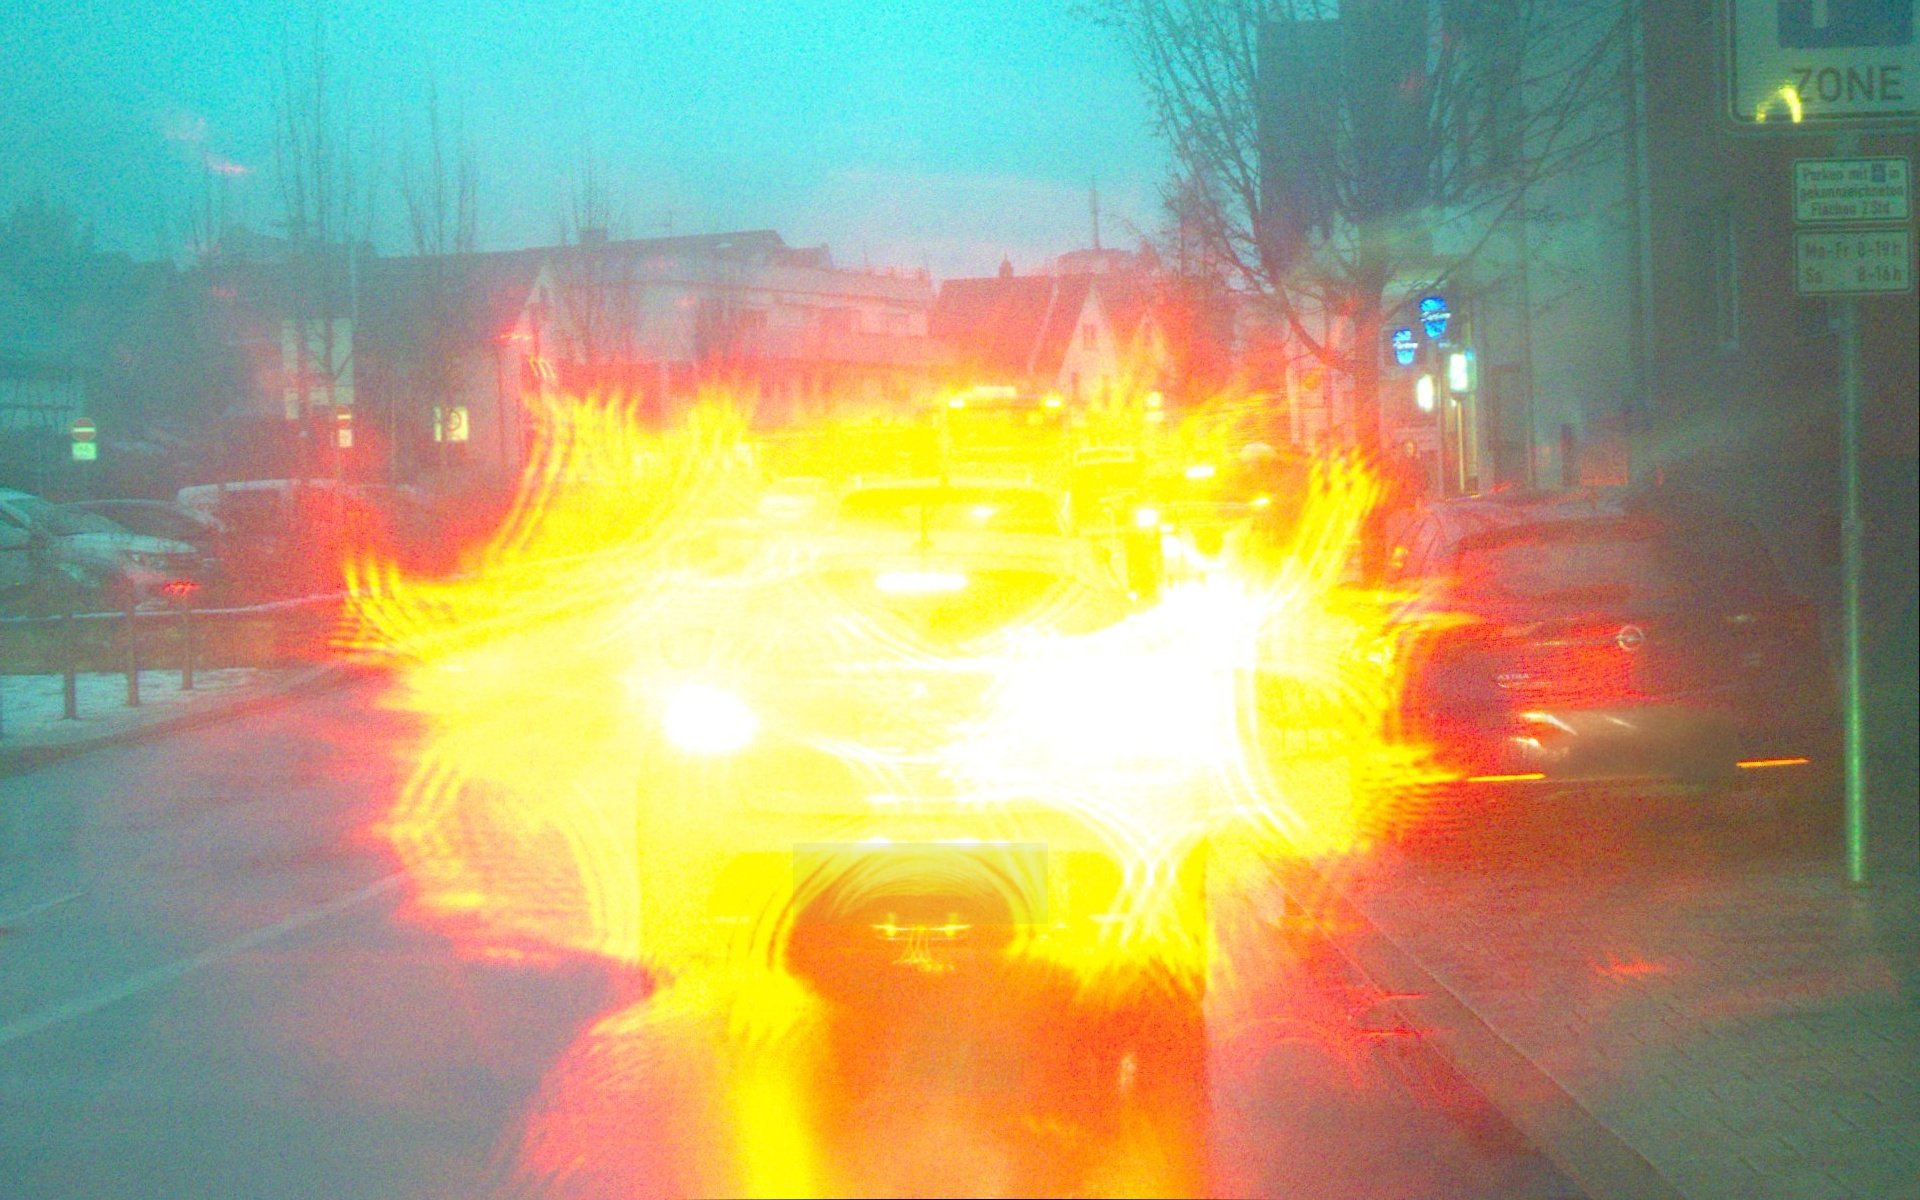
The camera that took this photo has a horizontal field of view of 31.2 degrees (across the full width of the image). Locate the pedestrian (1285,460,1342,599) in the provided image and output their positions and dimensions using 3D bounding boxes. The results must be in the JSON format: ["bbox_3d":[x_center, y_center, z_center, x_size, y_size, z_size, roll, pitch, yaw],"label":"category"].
[{"bbox_3d":[4.406,-0.884,42.907,0.573,1.694,0.653,-3,1,2],"label":"pedestrian"}]

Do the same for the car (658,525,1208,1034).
[{"bbox_3d":[-0.058,0.479,11.292,1.563,1.407,3.018,0,2,1],"label":"car"}]

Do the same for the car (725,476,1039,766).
[{"bbox_3d":[-0.423,0.056,21.190,1.766,1.622,3.586,0,2,1],"label":"car"}]

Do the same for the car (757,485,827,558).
[{"bbox_3d":[-4.837,-2.243,99.364,1.919,2.020,3.975,0,0,-1],"label":"car"}]

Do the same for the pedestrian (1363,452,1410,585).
[{"bbox_3d":[5.359,-1.011,43.147,0.529,1.647,0.953,0,0,11],"label":"pedestrian"}]

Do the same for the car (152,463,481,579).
[{"bbox_3d":[-9.732,-1.199,52.233,4.625,1.662,2.000,-1,1,-1],"label":"car"}]

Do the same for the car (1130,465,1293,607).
[{"bbox_3d":[3.204,-0.855,44.511,1.735,1.686,4.387,-2,2,0],"label":"car"}]

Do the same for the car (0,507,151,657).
[{"bbox_3d":[-9.768,-0.148,33.282,3.444,1.367,1.601,-2,2,0],"label":"car"}]

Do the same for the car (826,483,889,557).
[{"bbox_3d":[-3.185,-2.469,107.227,1.919,2.208,3.975,0,0,-1],"label":"car"}]

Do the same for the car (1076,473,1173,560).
[{"bbox_3d":[3.618,-1.851,76.128,1.997,1.858,4.083,-1,1,1],"label":"car"}]

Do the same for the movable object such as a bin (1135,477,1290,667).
[{"bbox_3d":[2.049,-0.248,28.138,1.129,1.415,1.417,-4,3,3],"label":"movable object such as a bin"}]

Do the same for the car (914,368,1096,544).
[{"bbox_3d":[0.767,-2.626,64.659,3.190,3.021,6.305,0,0,-1],"label":"car"}]

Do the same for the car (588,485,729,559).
[{"bbox_3d":[-9.327,-2.385,106.087,4.383,2.159,1.995,0,0,45],"label":"car"}]

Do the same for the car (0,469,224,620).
[{"bbox_3d":[-9.835,-0.578,35.977,3.794,1.517,1.714,-1,1,8],"label":"car"}]

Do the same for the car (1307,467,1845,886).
[{"bbox_3d":[2.561,0.216,15.224,1.728,1.459,4.199,-4,2,3],"label":"car"}]

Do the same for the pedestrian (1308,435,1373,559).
[{"bbox_3d":[5.431,-1.474,49.023,0.712,1.709,1.034,-2,3,14],"label":"pedestrian"}]
